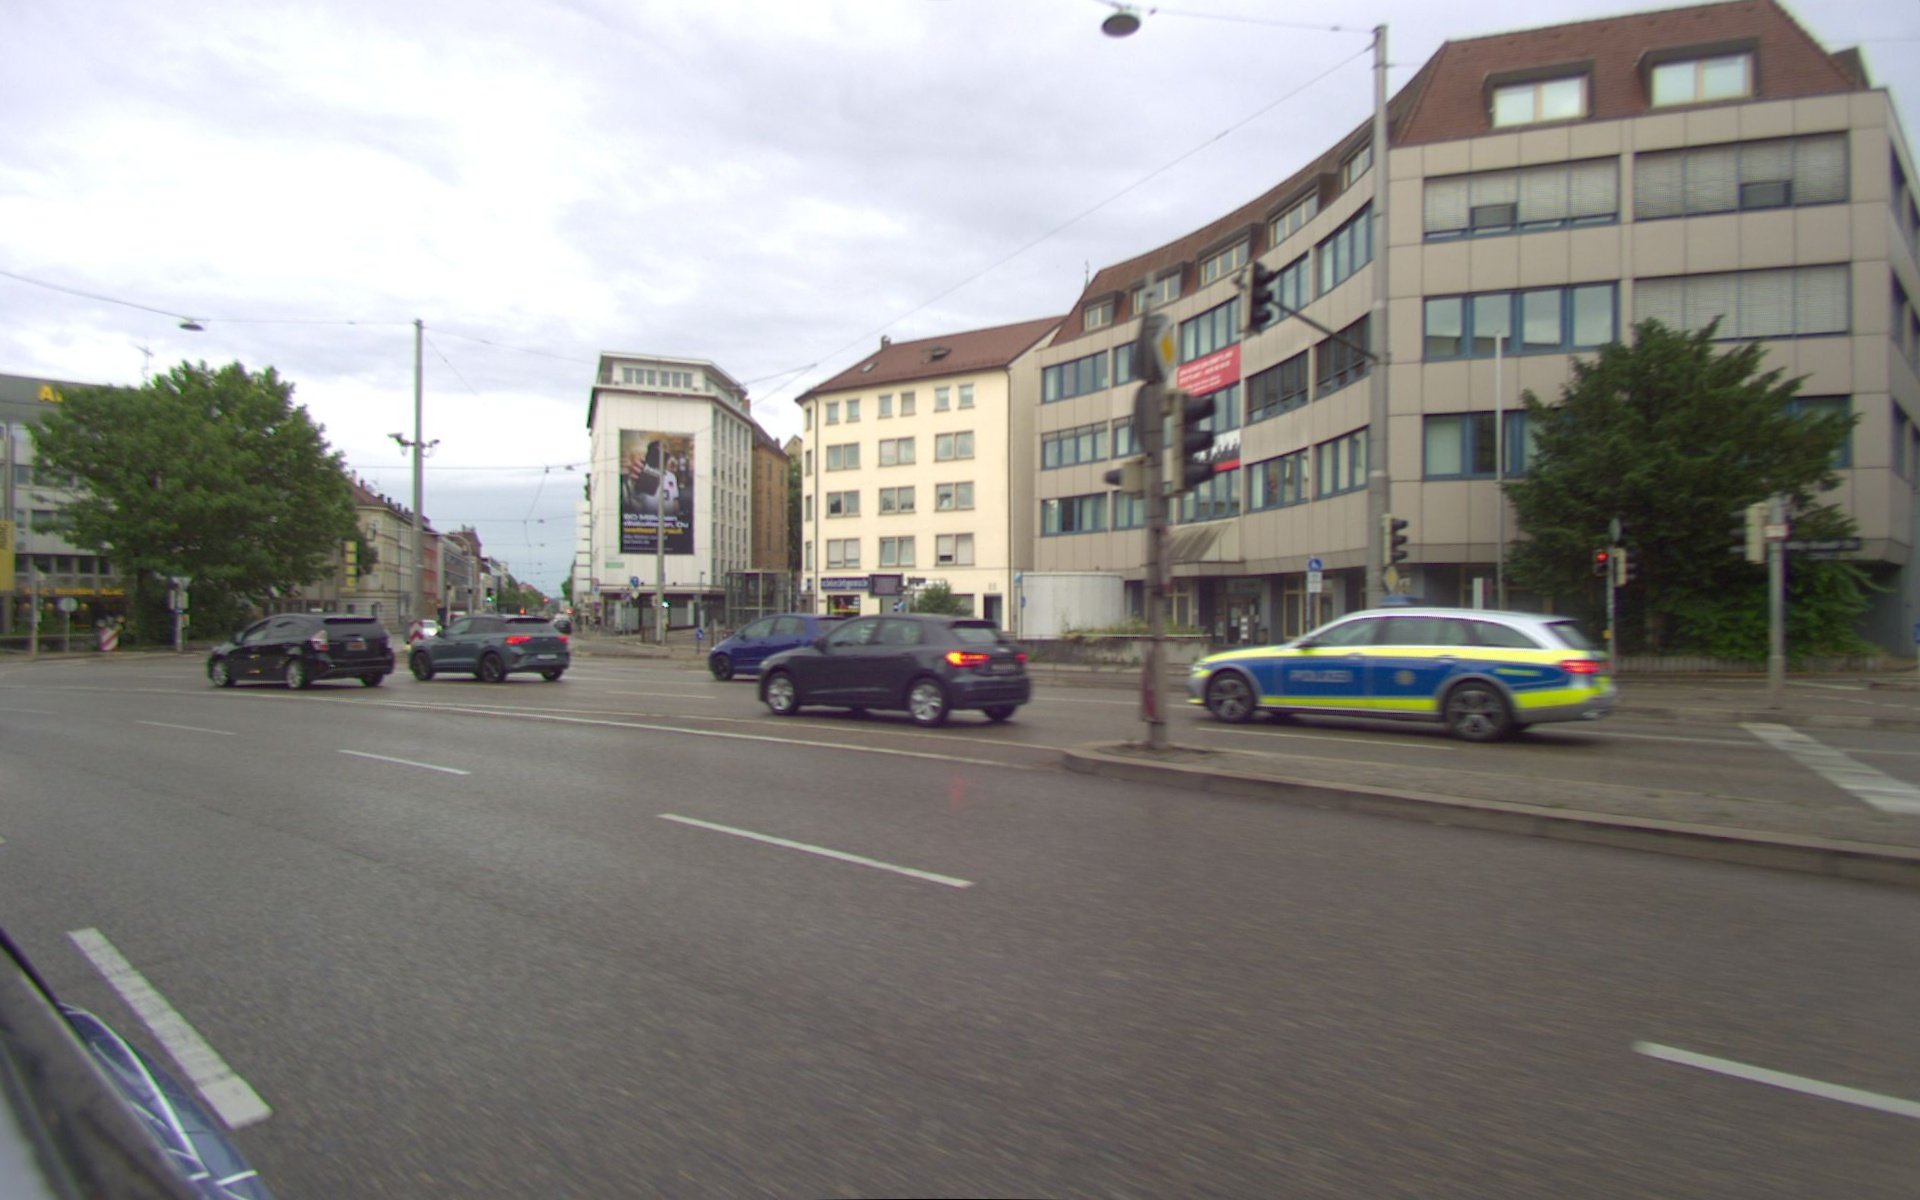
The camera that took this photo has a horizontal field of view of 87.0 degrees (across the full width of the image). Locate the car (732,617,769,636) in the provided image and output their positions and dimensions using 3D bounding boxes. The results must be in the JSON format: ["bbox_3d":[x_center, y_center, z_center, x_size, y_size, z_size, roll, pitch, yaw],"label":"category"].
[{"bbox_3d":[-18.469,2.364,89.478,1.897,1.603,3.987,0,-2,10],"label":"car"}]

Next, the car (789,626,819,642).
[{"bbox_3d":[-12.379,2.711,80.495,1.389,1.239,3.154,0,-2,10],"label":"car"}]

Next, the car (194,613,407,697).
[{"bbox_3d":[-14.217,1.131,21.788,4.570,1.635,1.842,-1,-2,28],"label":"car"}]

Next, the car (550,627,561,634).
[{"bbox_3d":[-79.023,5.897,197.891,1.750,1.331,3.689,1,-2,-19],"label":"car"}]

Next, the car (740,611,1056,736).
[{"bbox_3d":[-0.907,0.883,13.493,4.076,1.427,1.750,-1,-2,38],"label":"car"}]

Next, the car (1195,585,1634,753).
[{"bbox_3d":[5.359,0.742,12.357,4.589,1.695,1.748,-1,-2,41],"label":"car"}]

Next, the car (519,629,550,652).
[{"bbox_3d":[-36.803,3.471,87.533,1.966,1.857,4.454,1,-2,-30],"label":"car"}]

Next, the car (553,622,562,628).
[{"bbox_3d":[-90.506,5.597,227.605,1.750,1.331,3.689,1,-2,-19],"label":"car"}]

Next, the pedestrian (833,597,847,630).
[{"bbox_3d":[-7.498,0.835,63.286,0.674,2.029,0.561,-1,-2,29],"label":"pedestrian"}]

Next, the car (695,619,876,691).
[{"bbox_3d":[-4.065,1.207,23.323,4.112,1.524,1.747,-1,-2,35],"label":"car"}]

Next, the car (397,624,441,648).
[{"bbox_3d":[-33.388,2.193,62.570,1.966,1.462,4.242,1,-2,-22],"label":"car"}]

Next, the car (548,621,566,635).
[{"bbox_3d":[-46.536,3.204,116.873,1.844,1.590,4.013,1,-2,-20],"label":"car"}]

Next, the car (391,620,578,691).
[{"bbox_3d":[-11.124,1.244,23.652,4.213,1.524,1.806,-1,-2,28],"label":"car"}]
